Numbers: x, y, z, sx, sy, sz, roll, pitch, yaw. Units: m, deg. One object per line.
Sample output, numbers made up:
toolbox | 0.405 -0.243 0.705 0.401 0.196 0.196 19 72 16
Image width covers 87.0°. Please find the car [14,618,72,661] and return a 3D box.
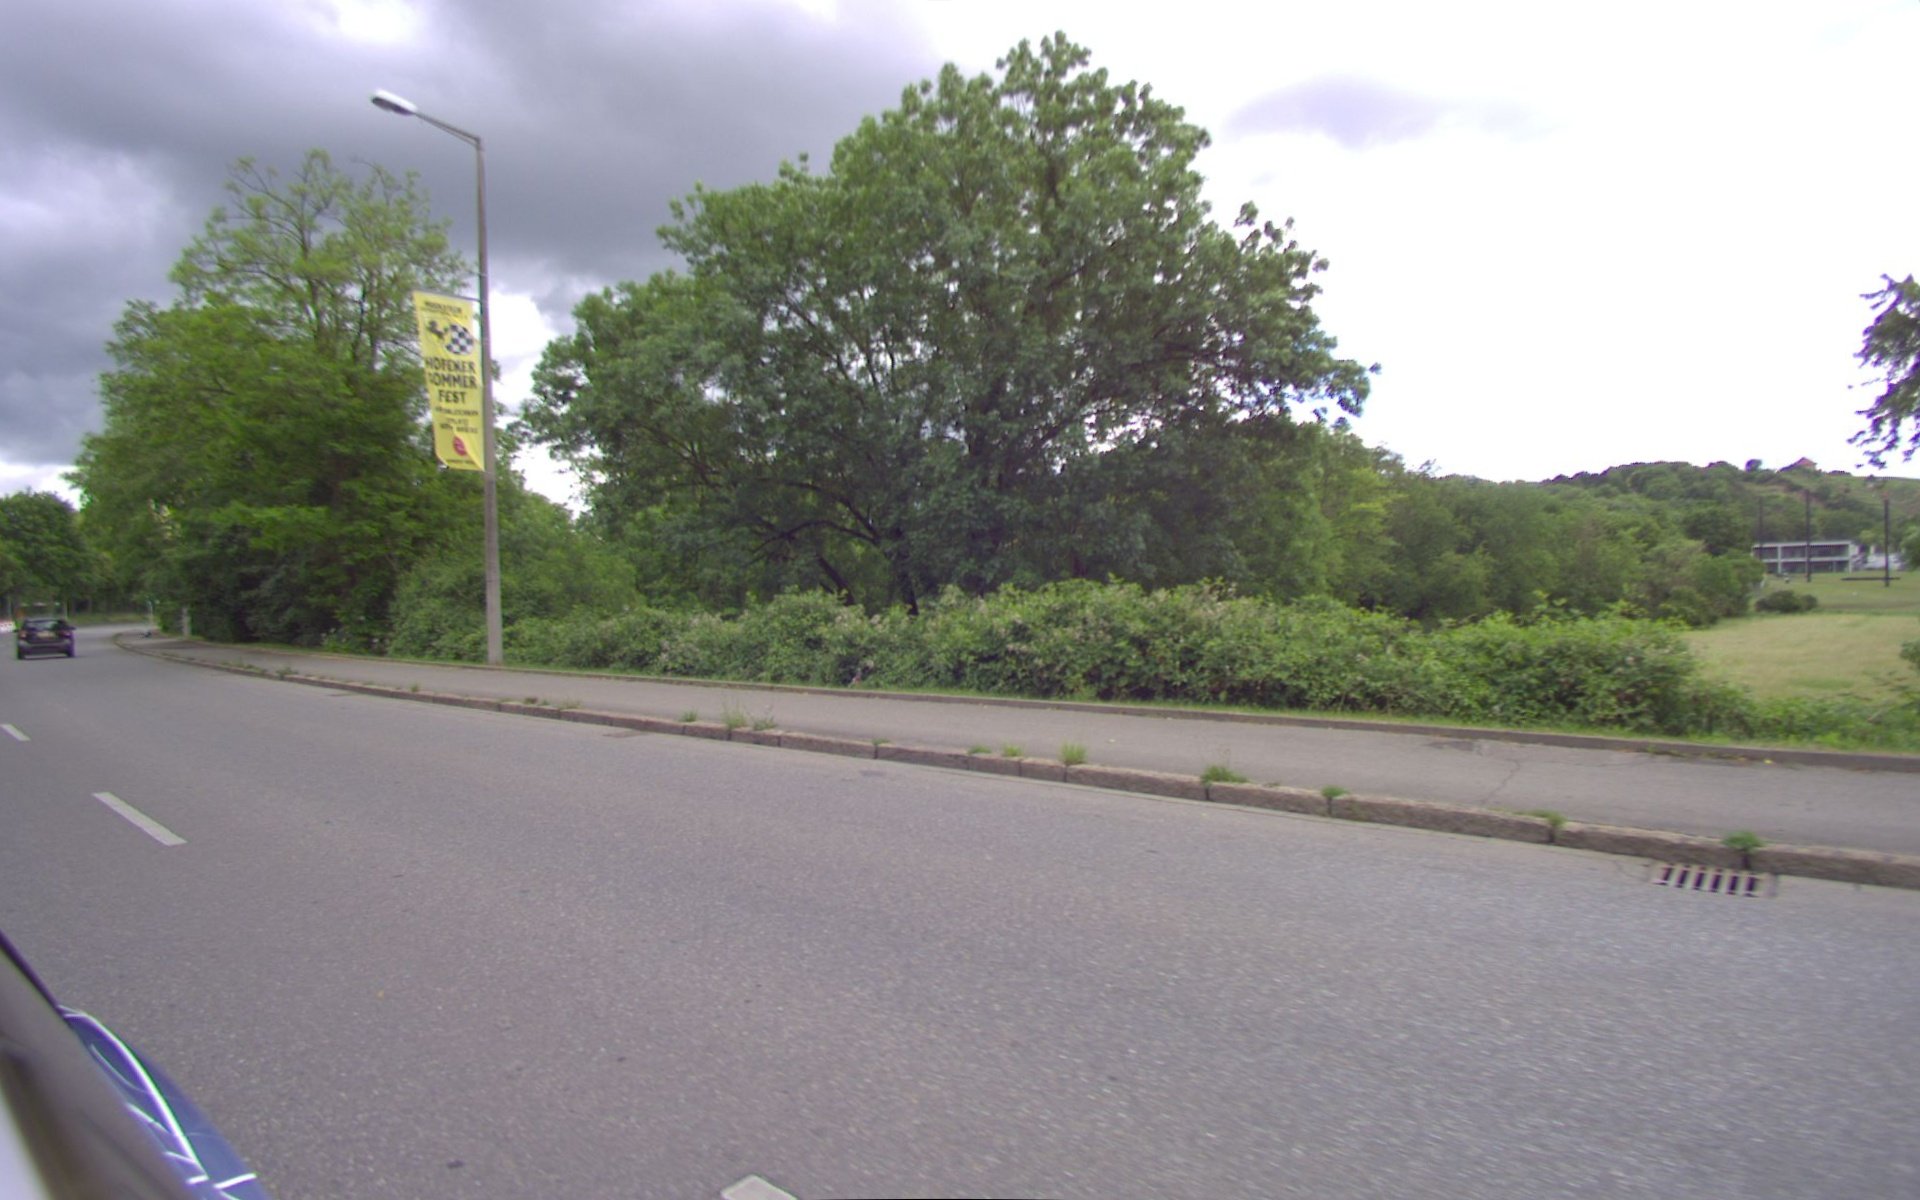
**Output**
car | -35.012 1.479 38.654 1.576 1.517 3.032 -1 0 -42

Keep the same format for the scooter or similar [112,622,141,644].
scooter or similar | -48.749 1.926 59.181 1.277 1.193 0.366 -3 1 -6
